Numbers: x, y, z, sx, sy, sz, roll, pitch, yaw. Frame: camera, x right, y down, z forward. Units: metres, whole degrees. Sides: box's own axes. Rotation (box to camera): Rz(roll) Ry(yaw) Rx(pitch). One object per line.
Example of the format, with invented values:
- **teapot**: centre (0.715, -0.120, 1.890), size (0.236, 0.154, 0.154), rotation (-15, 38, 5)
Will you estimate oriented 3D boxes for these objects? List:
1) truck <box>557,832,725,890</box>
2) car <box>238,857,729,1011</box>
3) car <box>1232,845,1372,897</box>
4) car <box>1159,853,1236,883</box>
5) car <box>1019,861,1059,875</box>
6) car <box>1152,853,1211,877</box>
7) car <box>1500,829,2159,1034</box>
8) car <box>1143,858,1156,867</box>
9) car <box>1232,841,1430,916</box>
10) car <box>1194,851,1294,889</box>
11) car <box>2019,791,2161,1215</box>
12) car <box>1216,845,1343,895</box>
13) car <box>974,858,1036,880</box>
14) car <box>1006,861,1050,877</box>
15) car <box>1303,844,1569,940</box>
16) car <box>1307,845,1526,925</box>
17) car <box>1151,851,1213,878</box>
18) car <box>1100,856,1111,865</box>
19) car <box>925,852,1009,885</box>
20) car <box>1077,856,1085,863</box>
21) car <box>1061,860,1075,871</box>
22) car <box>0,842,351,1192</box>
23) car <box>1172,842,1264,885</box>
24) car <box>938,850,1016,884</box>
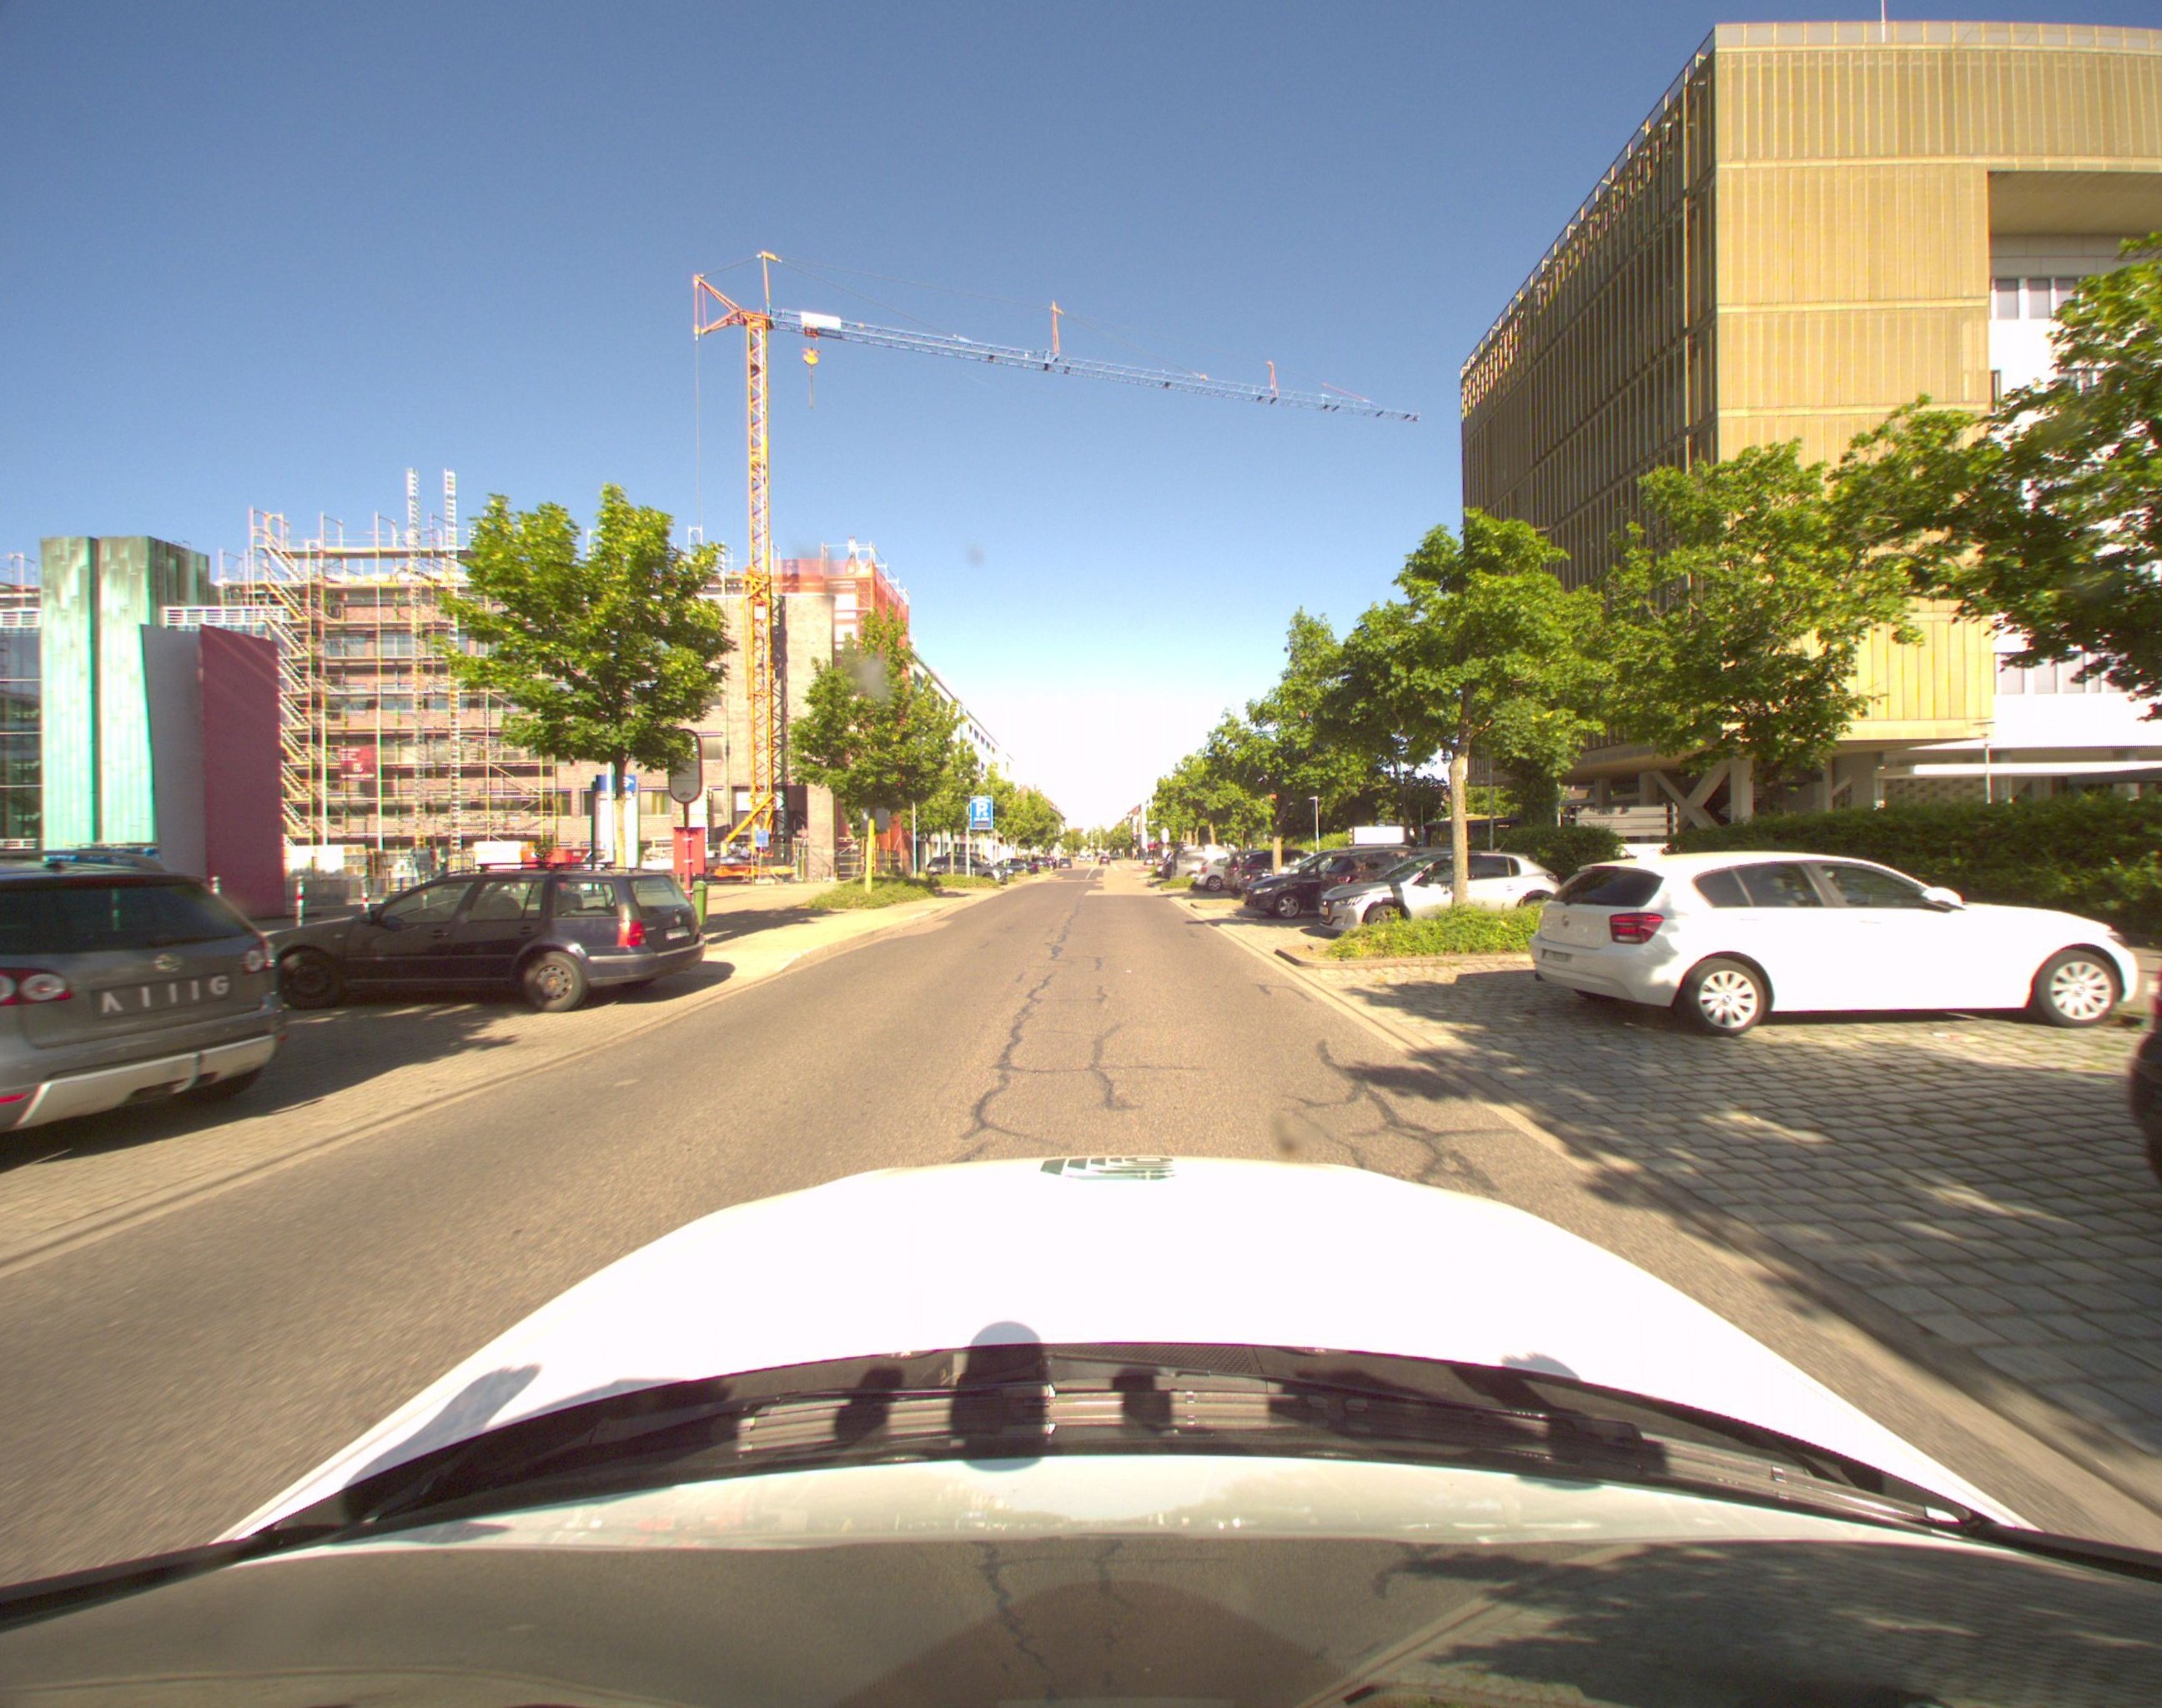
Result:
- **truck**: centre (-21.059, 0.313, 39.206), size (6.829, 2.547, 2.282), rotation (-1, 1, 3)
- **car**: centre (-6.489, 0.829, 9.255), size (4.119, 1.492, 1.868), rotation (1, 1, -2)
- **car**: centre (6.954, 0.536, 25.954), size (3.972, 1.538, 1.862), rotation (-1, -1, 1)
- **car**: centre (6.132, 0.720, 43.198), size (3.894, 1.474, 1.798), rotation (-1, 1, 5)
- **car**: centre (-4.668, 1.551, 90.602), size (4.316, 1.474, 1.818), rotation (-1, 1, 0)
- **car**: centre (6.756, 0.763, 54.900), size (3.894, 1.475, 1.760), rotation (-1, -2, 5)
- **car**: centre (6.153, 0.613, 7.117), size (4.045, 1.426, 1.743), rotation (-2, -1, 2)
- **car**: centre (11.906, 1.458, 141.671), size (1.983, 1.474, 4.109), rotation (-1, 1, -1)
- **car**: centre (5.806, 0.553, 19.248), size (4.131, 1.580, 1.741), rotation (-2, 0, 0)
- **car**: centre (6.613, 0.656, 33.387), size (3.752, 1.459, 1.818), rotation (-1, -1, 1)
- **car**: centre (5.742, 0.516, 2.602), size (3.595, 1.549, 1.706), rotation (-1, 1, -1)
- **car**: centre (6.874, 0.551, 28.525), size (3.972, 1.582, 2.032), rotation (-1, -1, 1)
- **car**: centre (-5.497, 1.058, 59.134), size (4.320, 1.474, 1.816), rotation (-1, 1, -2)
- **car**: centre (-5.402, 1.507, 83.702), size (4.316, 1.474, 1.818), rotation (-1, 1, 0)
- **car**: centre (6.058, 0.622, 14.231), size (3.887, 1.486, 1.743), rotation (-1, 0, 0)
- **car**: centre (6.847, 0.608, 16.884), size (3.851, 1.504, 1.651), rotation (-1, 0, -1)
- **car**: centre (6.496, 0.644, 52.604), size (3.894, 1.642, 1.880), rotation (-1, 1, 5)
- **car**: centre (4.196, 1.095, 137.699), size (1.804, 1.474, 4.113), rotation (-1, 1, 2)
- **car**: centre (-6.094, 0.771, 43.839), size (4.247, 1.665, 1.599), rotation (-1, 1, 0)
- **car**: centre (-0.023, 1.318, 207.647), size (1.862, 1.642, 3.931), rotation (-1, 1, 4)
- **car**: centre (-1.758, 1.546, 110.965), size (1.805, 1.474, 4.111), rotation (-1, 1, 0)
- **car**: centre (-7.043, 0.752, 4.758), size (3.969, 1.664, 1.830), rotation (1, 0, 4)
- **car**: centre (6.241, 0.415, 37.421), size (3.972, 1.879, 1.683), rotation (-1, 1, 1)
- **car**: centre (-6.141, 0.747, 48.505), size (4.313, 1.861, 1.819), rotation (-1, 1, 3)
